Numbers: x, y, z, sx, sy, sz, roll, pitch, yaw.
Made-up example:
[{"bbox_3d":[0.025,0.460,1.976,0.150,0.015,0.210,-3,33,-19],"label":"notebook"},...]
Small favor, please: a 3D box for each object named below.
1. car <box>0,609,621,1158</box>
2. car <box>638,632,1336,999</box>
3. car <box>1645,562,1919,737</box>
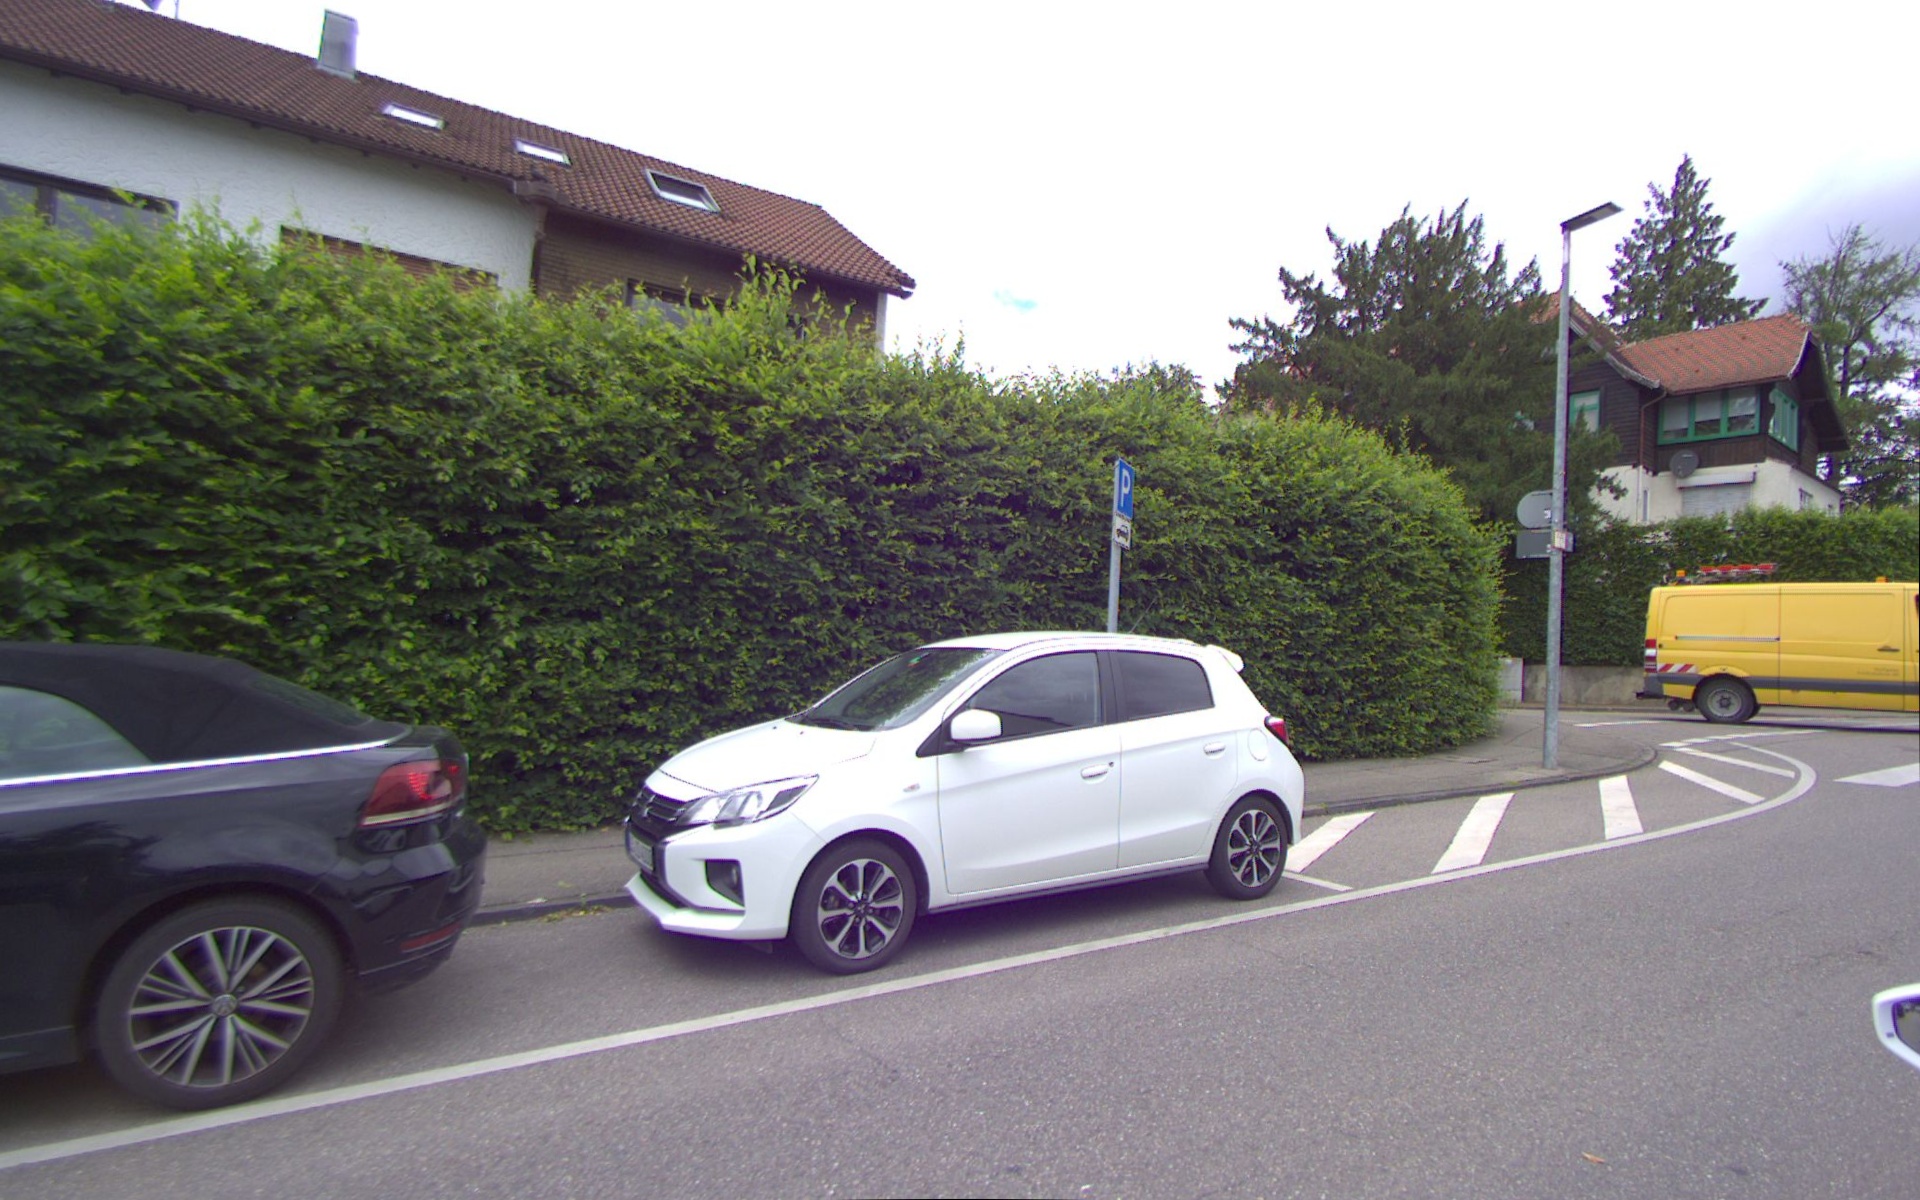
[{"bbox_3d":[-3.686,0.830,3.215,4.684,1.509,1.774,2,-5,-31],"label":"car"},{"bbox_3d":[0.194,0.926,5.596,3.537,1.438,1.682,1,-4,-30],"label":"car"},{"bbox_3d":[14.899,0.783,16.264,6.053,2.635,2.356,-2,-2,41],"label":"car"}]
